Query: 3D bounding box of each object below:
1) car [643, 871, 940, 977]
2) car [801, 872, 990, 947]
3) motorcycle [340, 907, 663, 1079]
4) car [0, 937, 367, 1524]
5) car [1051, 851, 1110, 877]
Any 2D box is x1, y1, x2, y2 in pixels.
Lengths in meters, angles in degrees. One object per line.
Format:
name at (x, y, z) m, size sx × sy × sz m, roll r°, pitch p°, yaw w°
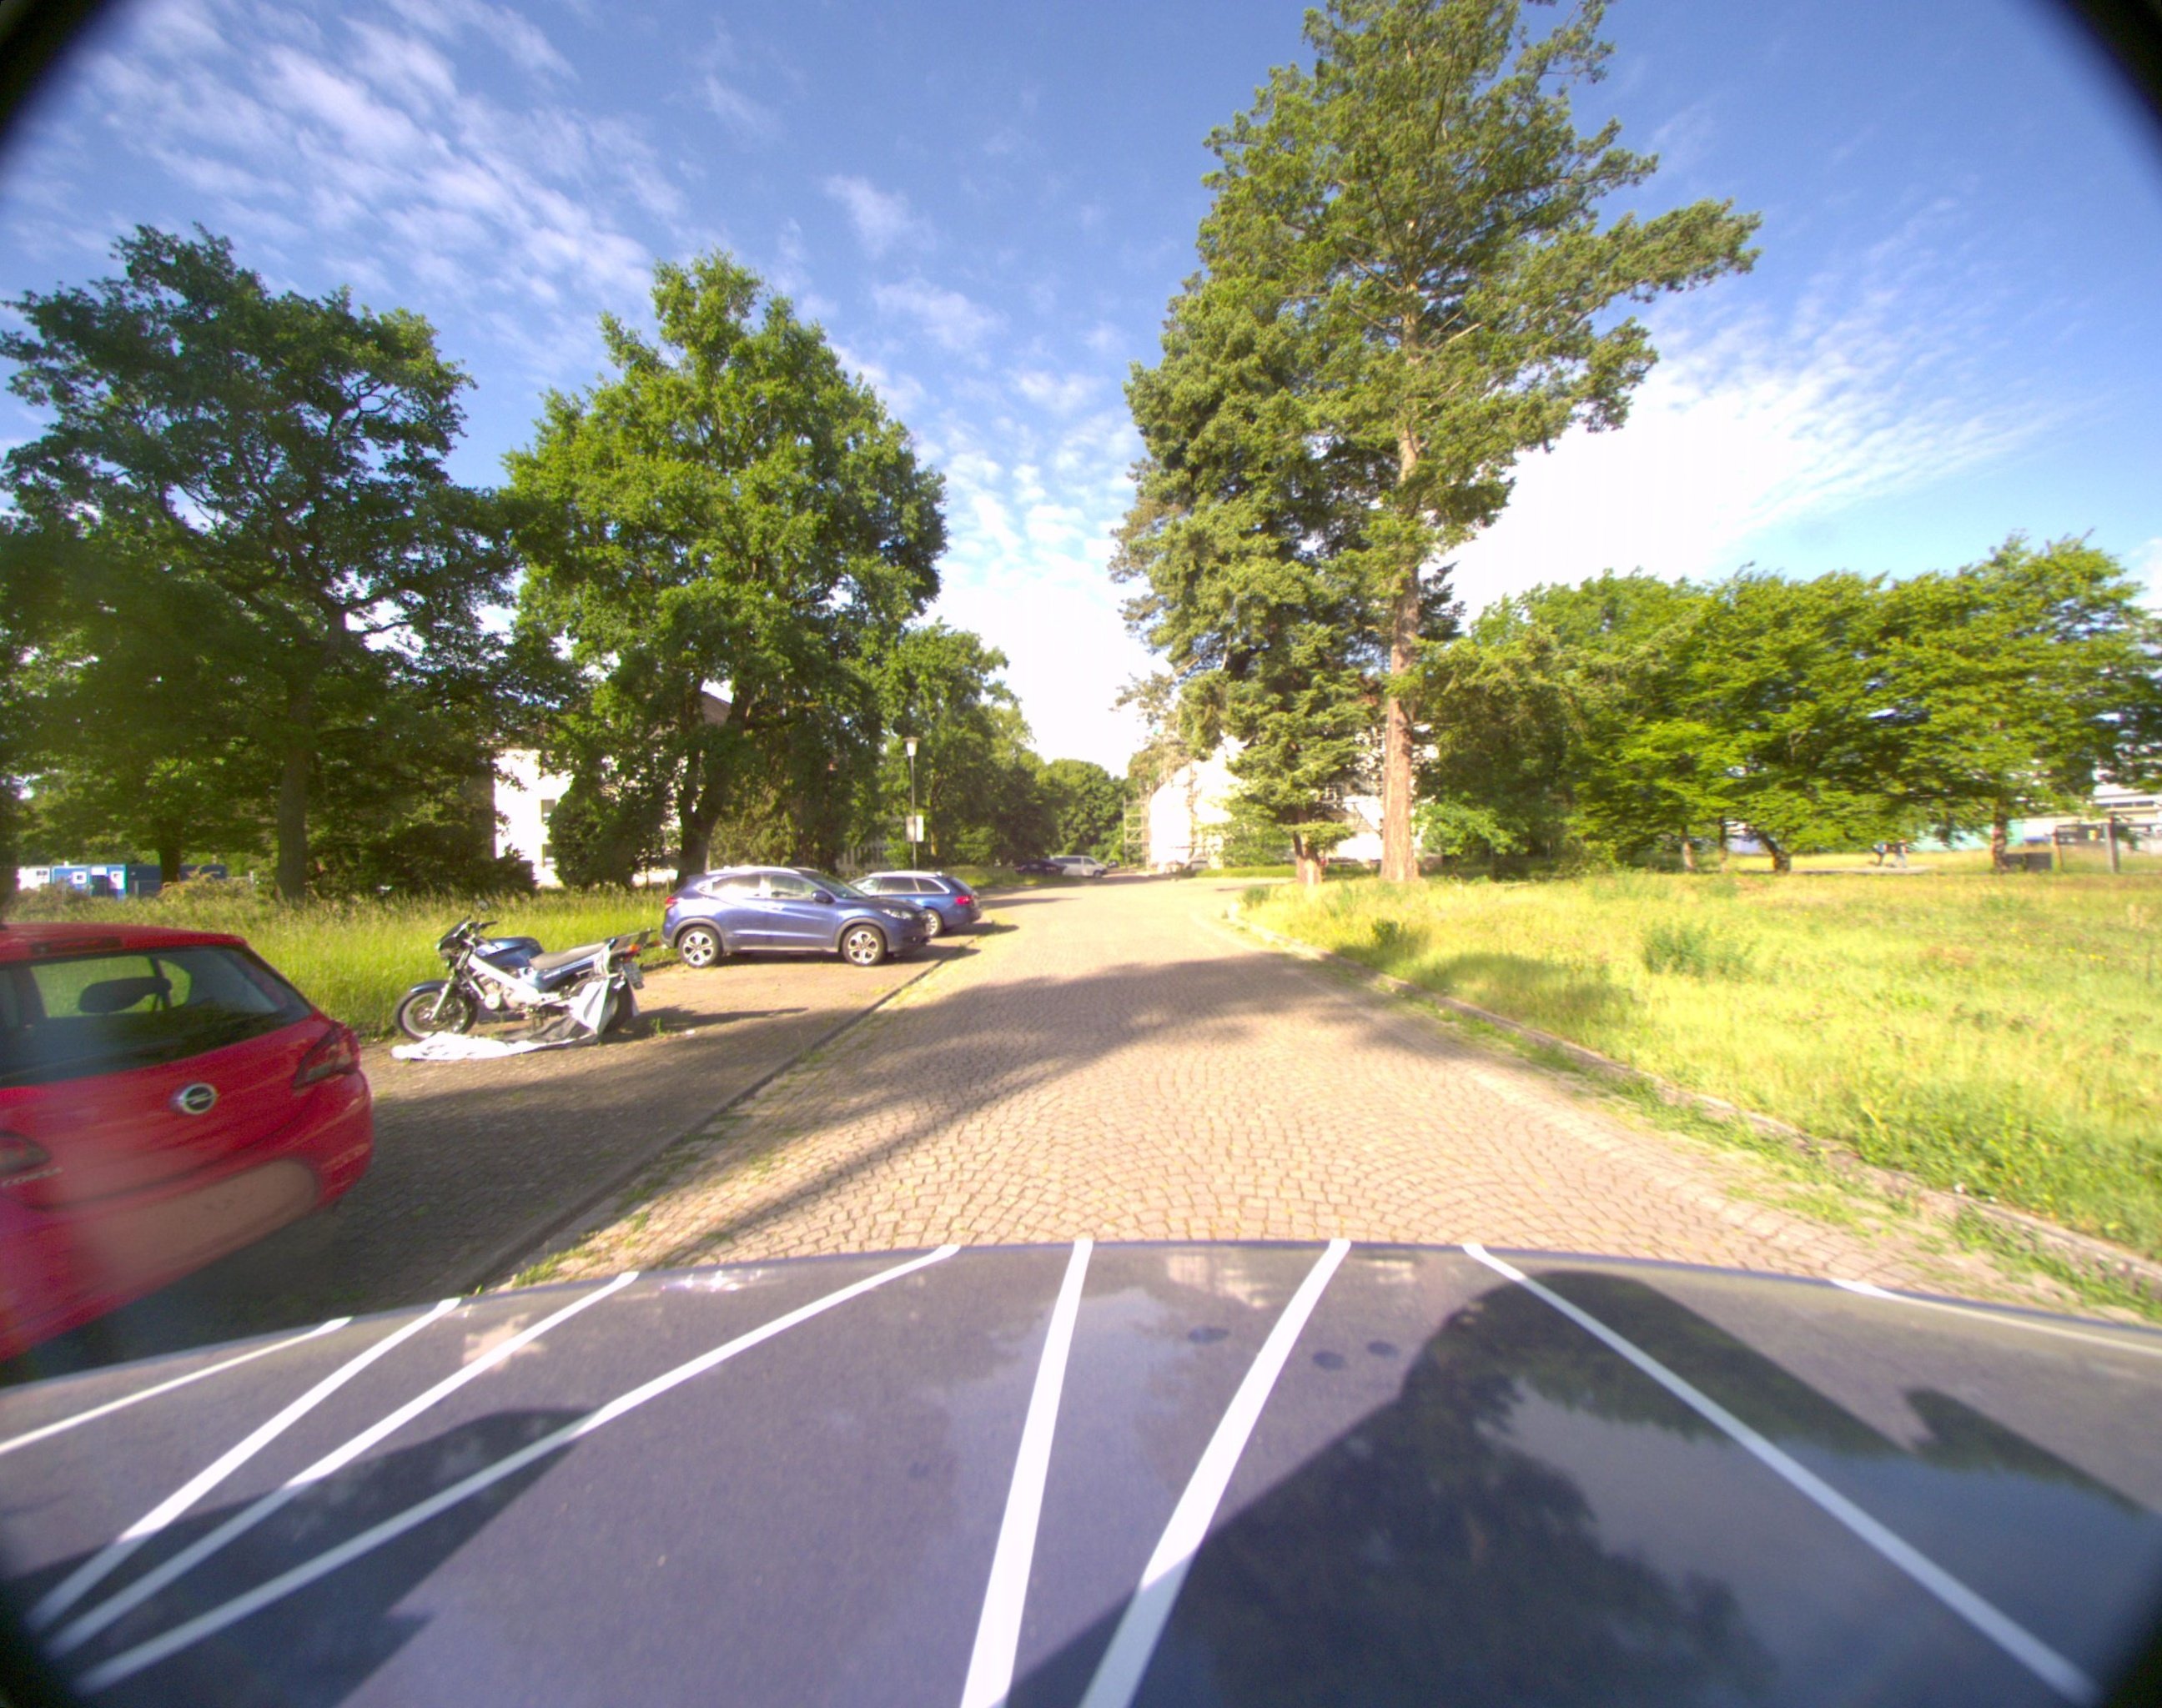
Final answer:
car at (-4.653, 1.105, 12.638) m, size 4.273 × 1.589 × 1.651 m, roll 0°, pitch 0°, yaw 0°
car at (-4.142, 1.219, 17.360) m, size 3.809 × 1.458 × 1.747 m, roll -2°, pitch 0°, yaw 2°
motorcycle at (-5.143, 1.208, 6.856) m, size 2.235 × 1.345 × 0.879 m, roll -2°, pitch 0°, yaw 3°
car at (-4.965, 1.152, 2.352) m, size 3.997 × 1.486 × 1.540 m, roll -2°, pitch 0°, yaw 0°
car at (-0.053, 0.861, 66.008) m, size 4.993 × 2.123 × 2.164 m, roll -2°, pitch 0°, yaw -1°
